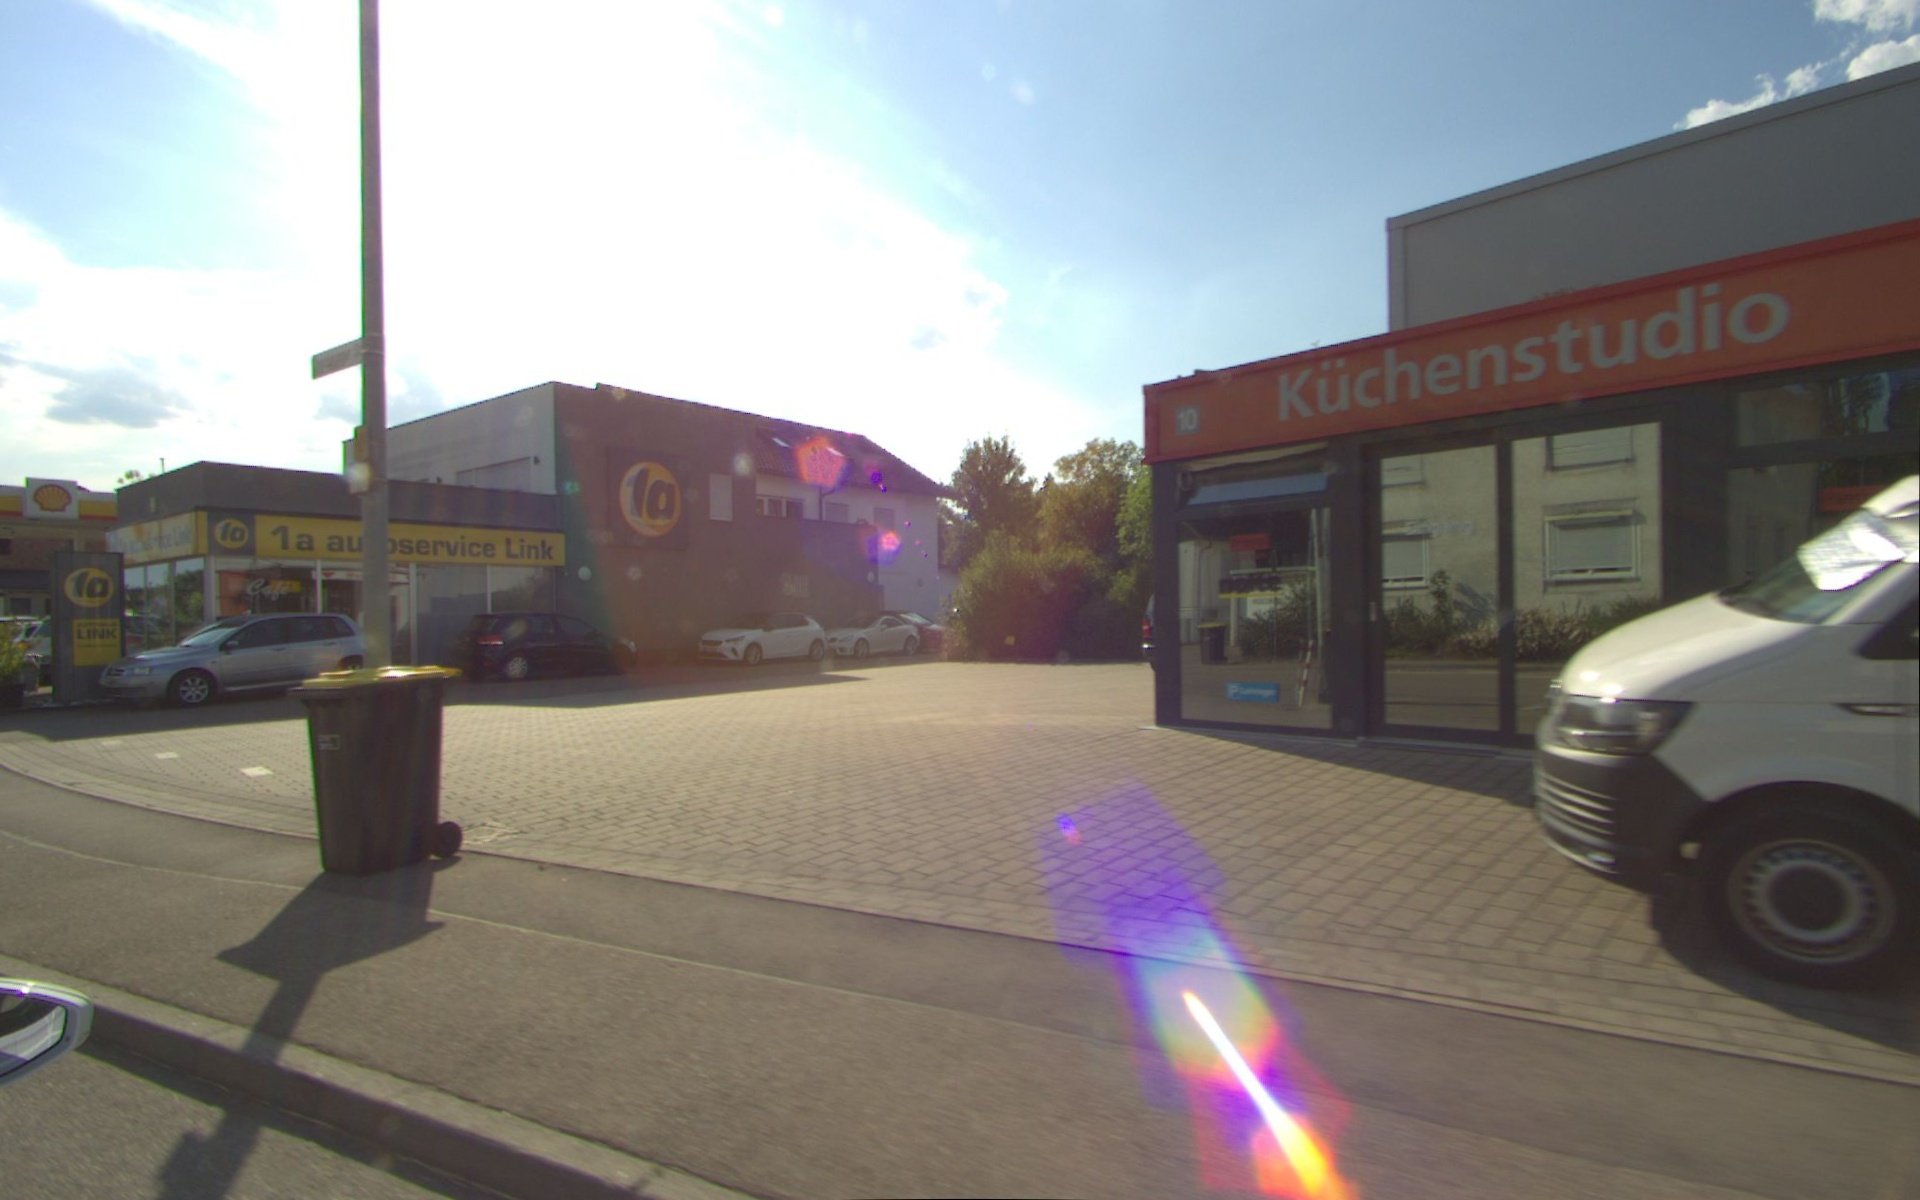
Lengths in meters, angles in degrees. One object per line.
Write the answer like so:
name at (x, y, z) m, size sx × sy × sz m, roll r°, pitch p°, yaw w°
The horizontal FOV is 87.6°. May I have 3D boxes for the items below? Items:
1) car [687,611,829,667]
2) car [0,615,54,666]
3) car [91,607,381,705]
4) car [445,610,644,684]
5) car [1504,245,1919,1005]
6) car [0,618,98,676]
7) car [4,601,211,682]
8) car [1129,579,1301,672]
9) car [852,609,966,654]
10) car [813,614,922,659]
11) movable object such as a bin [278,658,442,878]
car at (-5.627, 1.037, 28.288) m, size 1.693 × 1.427 × 3.894 m, roll 1°, pitch 0°, yaw 34°
car at (-31.795, 1.312, 33.396) m, size 3.948 × 1.598 × 1.665 m, roll -1°, pitch 0°, yaw 38°
car at (-12.915, 0.926, 18.123) m, size 1.506 × 1.551 × 3.979 m, roll -1°, pitch 0°, yaw 32°
car at (-9.295, 0.986, 22.655) m, size 1.693 × 1.487 × 3.894 m, roll 1°, pitch 0°, yaw 34°
car at (4.699, 0.027, 3.110) m, size 5.109 × 2.407 × 1.830 m, roll -1°, pitch 2°, yaw 35°
car at (-27.470, 1.370, 30.064) m, size 3.948 × 1.598 × 1.665 m, roll -1°, pitch 0°, yaw 38°
car at (-20.400, 0.911, 24.209) m, size 1.645 × 1.697 × 4.076 m, roll -2°, pitch 1°, yaw -4°
car at (4.967, 0.473, 19.263) m, size 1.624 × 1.615 × 3.611 m, roll -3°, pitch -2°, yaw 43°
car at (-1.800, 1.055, 34.843) m, size 3.760 × 1.418 × 1.658 m, roll 1°, pitch 1°, yaw 35°
car at (-2.854, 1.121, 31.609) m, size 1.379 × 1.279 × 3.745 m, roll 1°, pitch 0°, yaw 34°
movable object such as a bin at (-3.301, 0.883, 5.523) m, size 0.565 × 1.089 × 0.565 m, roll -1°, pitch 1°, yaw 34°
